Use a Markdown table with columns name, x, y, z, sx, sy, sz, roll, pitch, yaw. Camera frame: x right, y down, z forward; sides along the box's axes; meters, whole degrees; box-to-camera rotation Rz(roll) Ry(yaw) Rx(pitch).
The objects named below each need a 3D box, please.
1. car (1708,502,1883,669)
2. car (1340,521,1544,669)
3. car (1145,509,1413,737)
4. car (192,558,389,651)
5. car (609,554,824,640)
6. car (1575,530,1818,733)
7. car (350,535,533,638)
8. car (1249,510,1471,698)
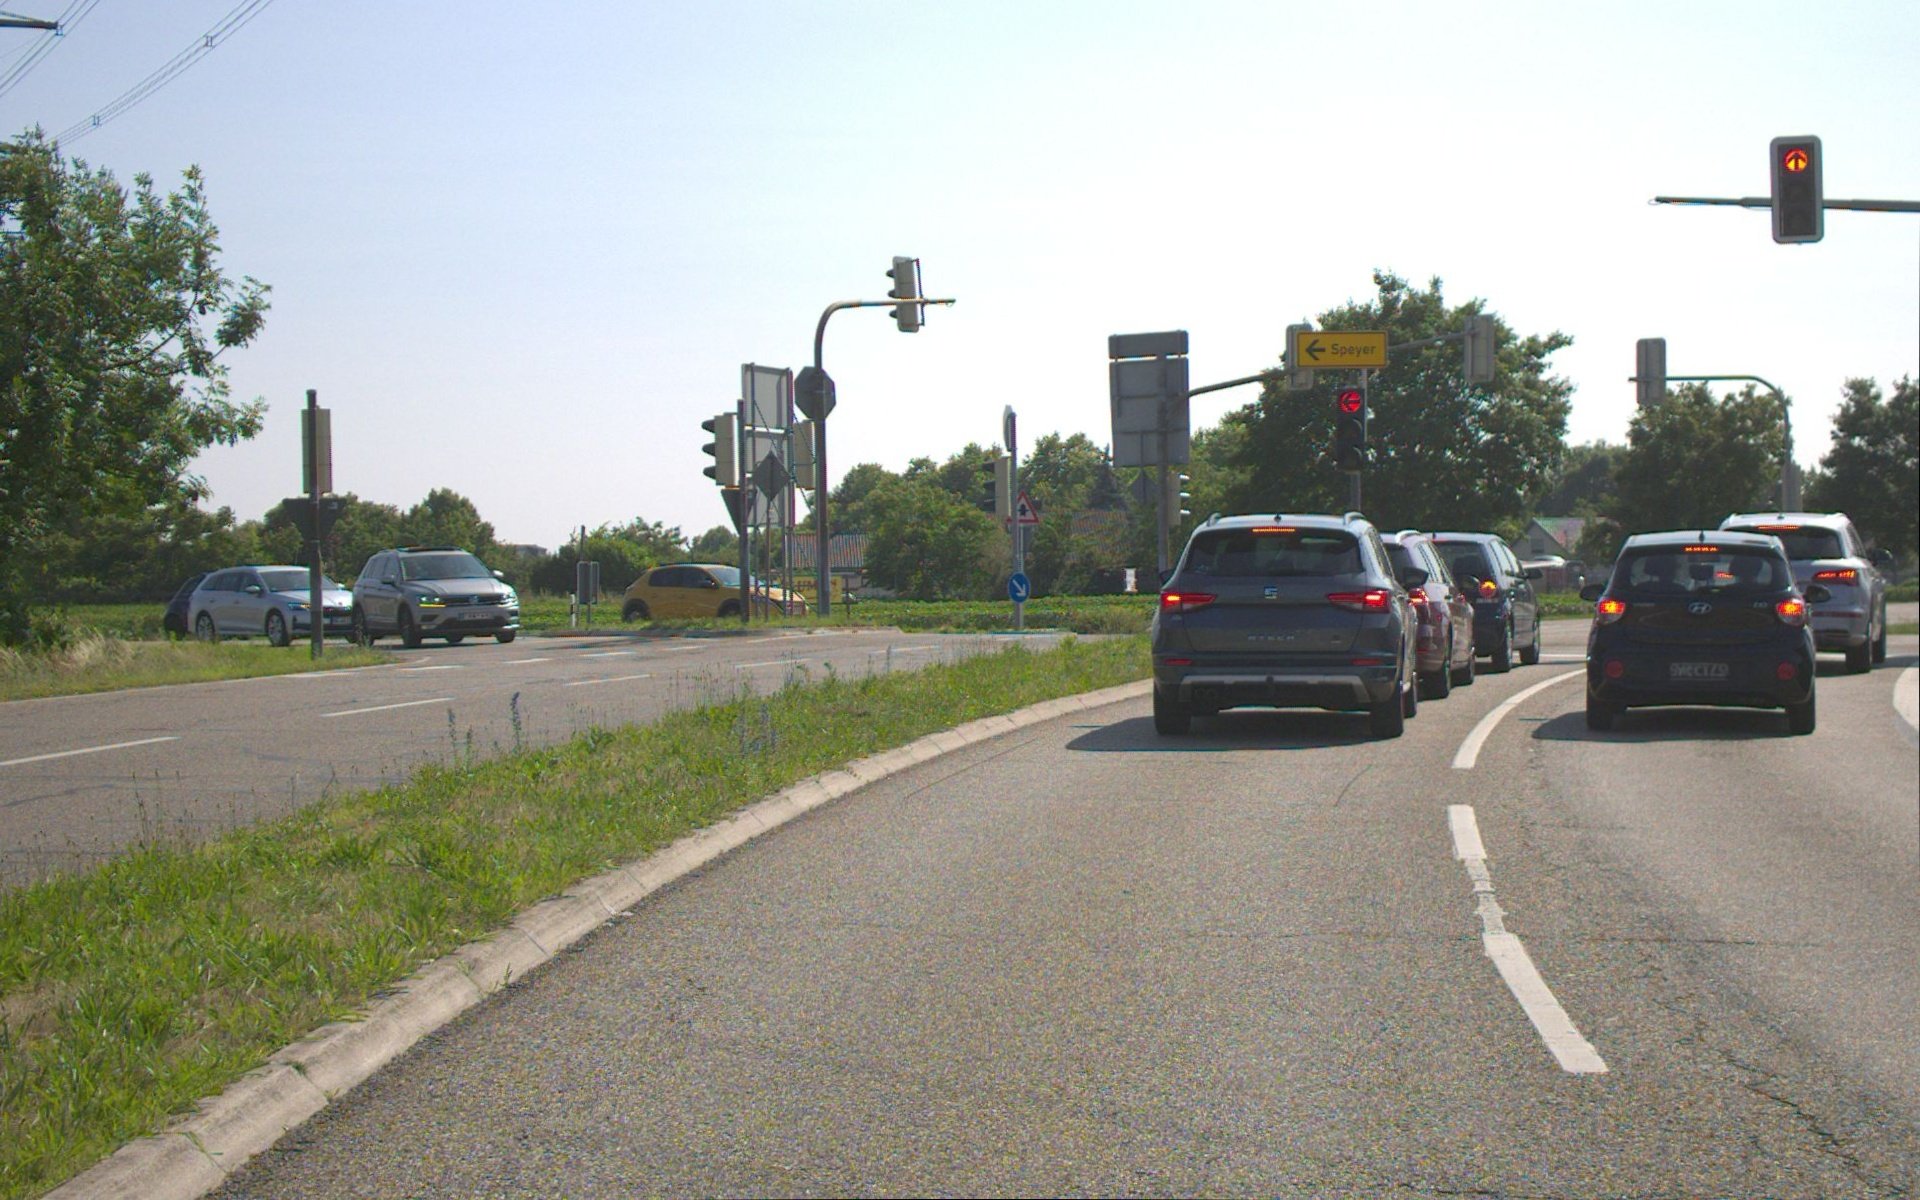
| name | x | y | z | sx | sy | sz | roll | pitch | yaw |
| --- | --- | --- | --- | --- | --- | --- | --- | --- | --- |
| car | 8.952 | -0.173 | 36.672 | 1.634 | 1.671 | 3.747 | 1 | 1 | 16 |
| car | 5.233 | -0.074 | 36.990 | 1.743 | 1.479 | 3.622 | 1 | 1 | 15 |
| car | 2.437 | 0.131 | 25.561 | 1.742 | 1.563 | 3.623 | 0 | 1 | 9 |
| car | -12.261 | 0.069 | 62.837 | 1.815 | 1.645 | 3.998 | -1 | 1 | -40 |
| car | -4.800 | -0.069 | 67.537 | 3.995 | 1.645 | 1.816 | 0 | 1 | 38 |
| car | 5.606 | 0.189 | 26.452 | 1.633 | 1.443 | 3.294 | 1 | 1 | 9 |
| car | -8.647 | -0.236 | 57.101 | 1.814 | 1.645 | 4.000 | -1 | 1 | -27 |
| car | 3.659 | 0.009 | 31.021 | 1.743 | 1.563 | 3.623 | 1 | 1 | 10 |
